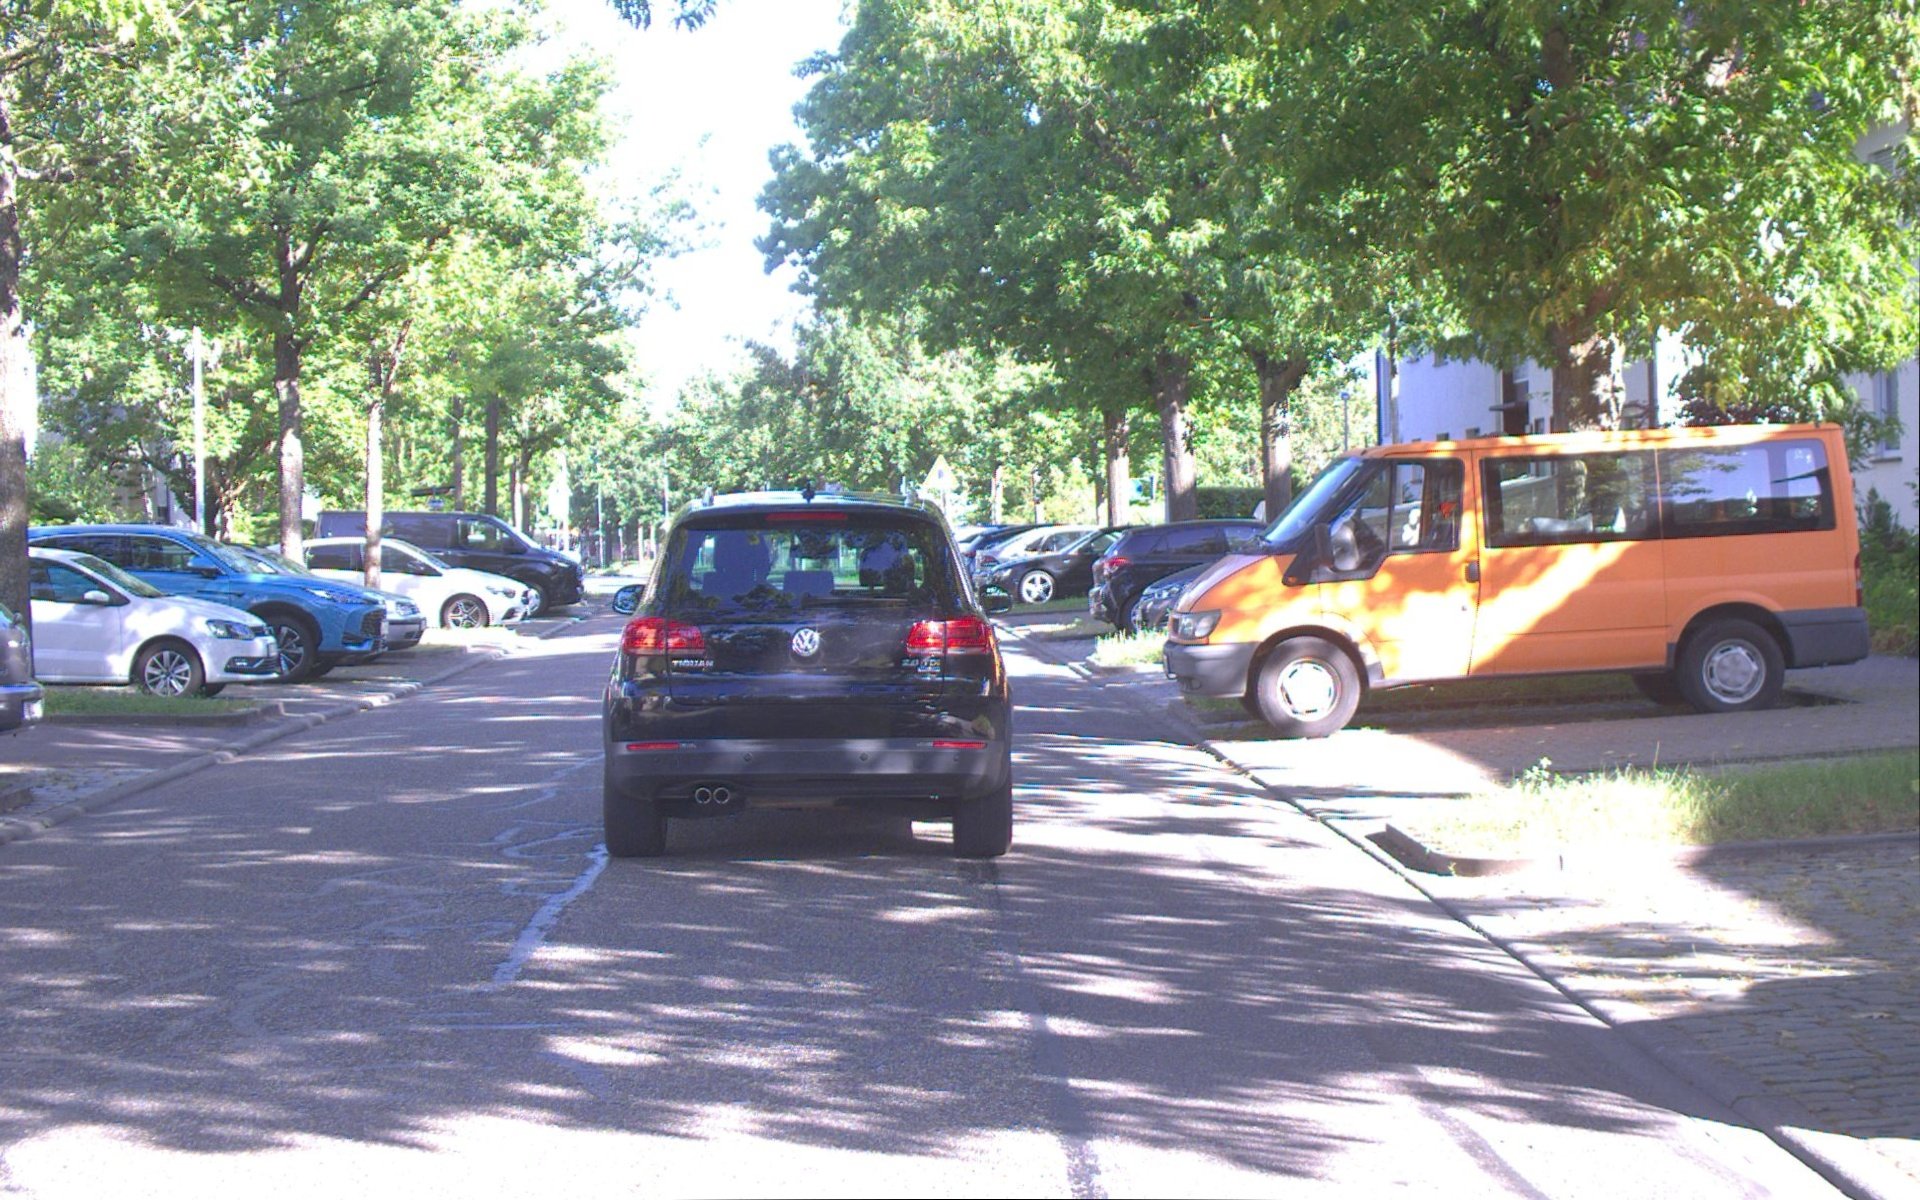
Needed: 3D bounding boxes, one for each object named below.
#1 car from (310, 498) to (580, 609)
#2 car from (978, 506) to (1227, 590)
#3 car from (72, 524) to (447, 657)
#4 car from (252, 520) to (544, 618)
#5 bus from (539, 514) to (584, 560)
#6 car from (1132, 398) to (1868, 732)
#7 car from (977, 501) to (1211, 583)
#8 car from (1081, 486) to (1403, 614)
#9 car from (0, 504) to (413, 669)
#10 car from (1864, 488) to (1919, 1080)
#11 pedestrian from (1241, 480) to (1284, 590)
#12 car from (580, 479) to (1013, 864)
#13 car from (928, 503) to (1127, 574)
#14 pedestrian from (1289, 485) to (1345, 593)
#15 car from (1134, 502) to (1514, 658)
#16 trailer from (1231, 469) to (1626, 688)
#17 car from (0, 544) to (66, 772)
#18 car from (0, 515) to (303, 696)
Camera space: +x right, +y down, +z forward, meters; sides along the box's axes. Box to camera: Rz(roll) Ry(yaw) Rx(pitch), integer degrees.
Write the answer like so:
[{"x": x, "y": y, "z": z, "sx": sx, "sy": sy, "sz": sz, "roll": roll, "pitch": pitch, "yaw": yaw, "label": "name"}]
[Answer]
[{"x": -9.510, "y": -0.869, "z": 63.798, "sx": 4.778, "sy": 1.910, "sz": 2.019, "roll": -1, "pitch": 1, "yaw": -4, "label": "car"}, {"x": 2.556, "y": -0.935, "z": 62.396, "sx": 4.345, "sy": 1.358, "sz": 1.874, "roll": -2, "pitch": 0, "yaw": -2, "label": "car"}, {"x": -8.409, "y": -0.118, "z": 41.526, "sx": 4.182, "sy": 1.487, "sz": 1.647, "roll": -1, "pitch": 0, "yaw": -1, "label": "car"}, {"x": -8.677, "y": -0.486, "z": 53.324, "sx": 4.275, "sy": 1.473, "sz": 1.769, "roll": 0, "pitch": 1, "yaw": -2, "label": "car"}, {"x": -27.438, "y": -4.344, "z": 236.838, "sx": 2.928, "sy": 2.993, "sz": 5.738, "roll": -1, "pitch": 0, "yaw": -6, "label": "bus"}, {"x": 3.746, "y": -0.261, "z": 24.520, "sx": 4.818, "sy": 2.076, "sz": 2.086, "roll": -2, "pitch": 1, "yaw": -1, "label": "car"}, {"x": 2.506, "y": -1.101, "z": 65.133, "sx": 4.276, "sy": 1.409, "sz": 1.797, "roll": -2, "pitch": 1, "yaw": -2, "label": "car"}, {"x": 3.537, "y": -0.628, "z": 43.583, "sx": 3.882, "sy": 1.511, "sz": 1.661, "roll": -1, "pitch": 0, "yaw": -1, "label": "car"}, {"x": -8.260, "y": -0.139, "z": 36.717, "sx": 4.523, "sy": 1.625, "sz": 1.937, "roll": -1, "pitch": 0, "yaw": -1, "label": "car"}, {"x": 4.676, "y": 0.408, "z": 8.458, "sx": 4.337, "sy": 1.555, "sz": 1.868, "roll": -2, "pitch": 1, "yaw": -2, "label": "car"}, {"x": 5.185, "y": -1.112, "z": 58.950, "sx": 0.608, "sy": 1.867, "sz": 0.924, "roll": -1, "pitch": 0, "yaw": -1, "label": "pedestrian"}, {"x": -0.682, "y": 0.275, "z": 16.636, "sx": 1.838, "sy": 1.631, "sz": 3.958, "roll": 0, "pitch": 1, "yaw": 0, "label": "car"}, {"x": 1.528, "y": -1.407, "z": 78.817, "sx": 4.428, "sy": 1.486, "sz": 1.797, "roll": -2, "pitch": 1, "yaw": -2, "label": "car"}, {"x": 6.109, "y": -1.040, "z": 58.863, "sx": 0.835, "sy": 1.822, "sz": 0.710, "roll": -1, "pitch": 0, "yaw": -1, "label": "pedestrian"}, {"x": 4.028, "y": -0.220, "z": 38.490, "sx": 3.986, "sy": 1.618, "sz": 1.757, "roll": -1, "pitch": 0, "yaw": -2, "label": "car"}, {"x": 3.962, "y": -0.183, "z": 29.353, "sx": 2.945, "sy": 1.658, "sz": 1.615, "roll": -3, "pitch": 0, "yaw": -7, "label": "trailer"}, {"x": -8.049, "y": 0.311, "z": 22.335, "sx": 4.033, "sy": 1.418, "sz": 1.810, "roll": 1, "pitch": 1, "yaw": -3, "label": "car"}, {"x": -8.334, "y": 0.063, "z": 32.238, "sx": 3.987, "sy": 1.590, "sz": 1.857, "roll": -1, "pitch": 0, "yaw": -1, "label": "car"}]
